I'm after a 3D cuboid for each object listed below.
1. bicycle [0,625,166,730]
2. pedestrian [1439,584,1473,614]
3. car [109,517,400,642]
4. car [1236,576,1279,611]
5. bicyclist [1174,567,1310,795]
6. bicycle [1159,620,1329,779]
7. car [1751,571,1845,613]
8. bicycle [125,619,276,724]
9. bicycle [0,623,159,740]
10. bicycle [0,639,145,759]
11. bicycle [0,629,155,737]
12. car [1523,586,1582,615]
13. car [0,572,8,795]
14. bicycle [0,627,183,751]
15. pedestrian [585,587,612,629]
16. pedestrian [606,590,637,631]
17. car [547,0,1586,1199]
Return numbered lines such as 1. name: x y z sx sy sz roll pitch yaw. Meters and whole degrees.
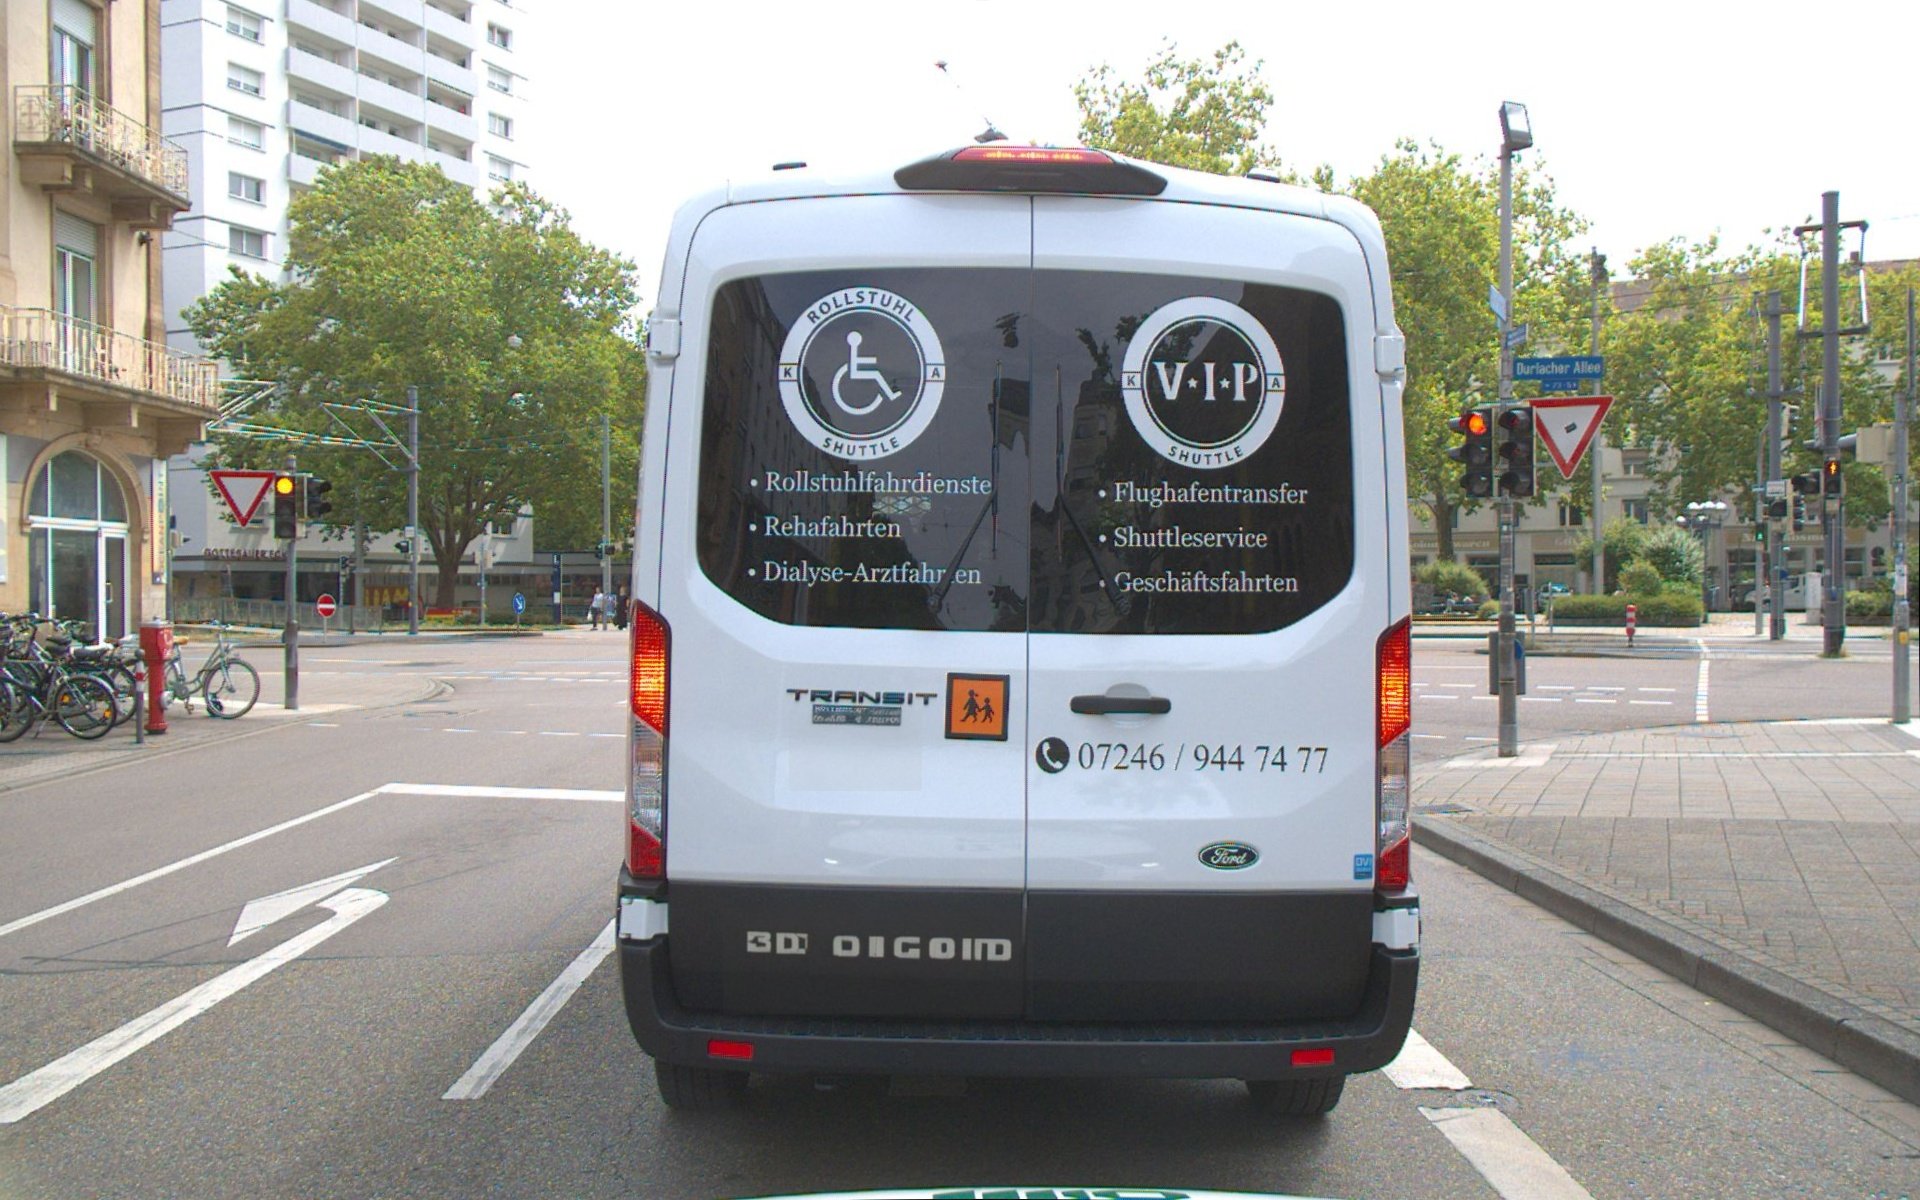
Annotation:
1. bicycle: -10.221 0.886 19.080 1.775 1.140 0.593 2 0 -9
2. pedestrian: 21.202 -0.039 70.734 1.068 1.257 1.441 -2 0 4
3. car: -24.092 -0.620 56.359 9.686 3.984 3.454 -1 0 24
4. car: 17.124 -0.374 95.341 1.951 1.964 4.002 -1 0 4
5. bicyclist: 2.184 0.605 12.880 0.886 1.713 0.756 0 0 -4
6. bicycle: 2.174 0.731 12.924 0.885 1.094 1.969 0 0 -3
7. car: 40.059 -0.373 79.164 3.907 1.916 1.857 -1 0 24
8. bicycle: -9.288 0.855 20.211 1.836 1.187 0.498 2 0 20
9. bicycle: -9.677 0.867 17.779 1.775 1.186 0.593 2 0 -9
10. bicycle: -9.088 0.971 16.379 1.771 1.140 0.594 -1 0 6
11. bicycle: -10.008 0.919 18.386 1.775 1.140 0.593 2 0 -9
12. car: 31.747 0.003 88.671 1.951 1.529 4.002 -1 0 4
13. car: -9.807 0.696 12.828 3.974 1.804 1.771 -1 1 -40
14. bicycle: -9.050 0.904 17.051 1.771 1.140 0.594 3 0 3
15. pedestrian: -13.768 0.292 62.998 0.790 1.600 0.724 0 0 13
16. pedestrian: -12.866 0.383 62.931 0.910 1.541 0.724 0 0 14
17. car: 0.152 0.065 5.776 2.138 2.694 4.627 1 1 -2
